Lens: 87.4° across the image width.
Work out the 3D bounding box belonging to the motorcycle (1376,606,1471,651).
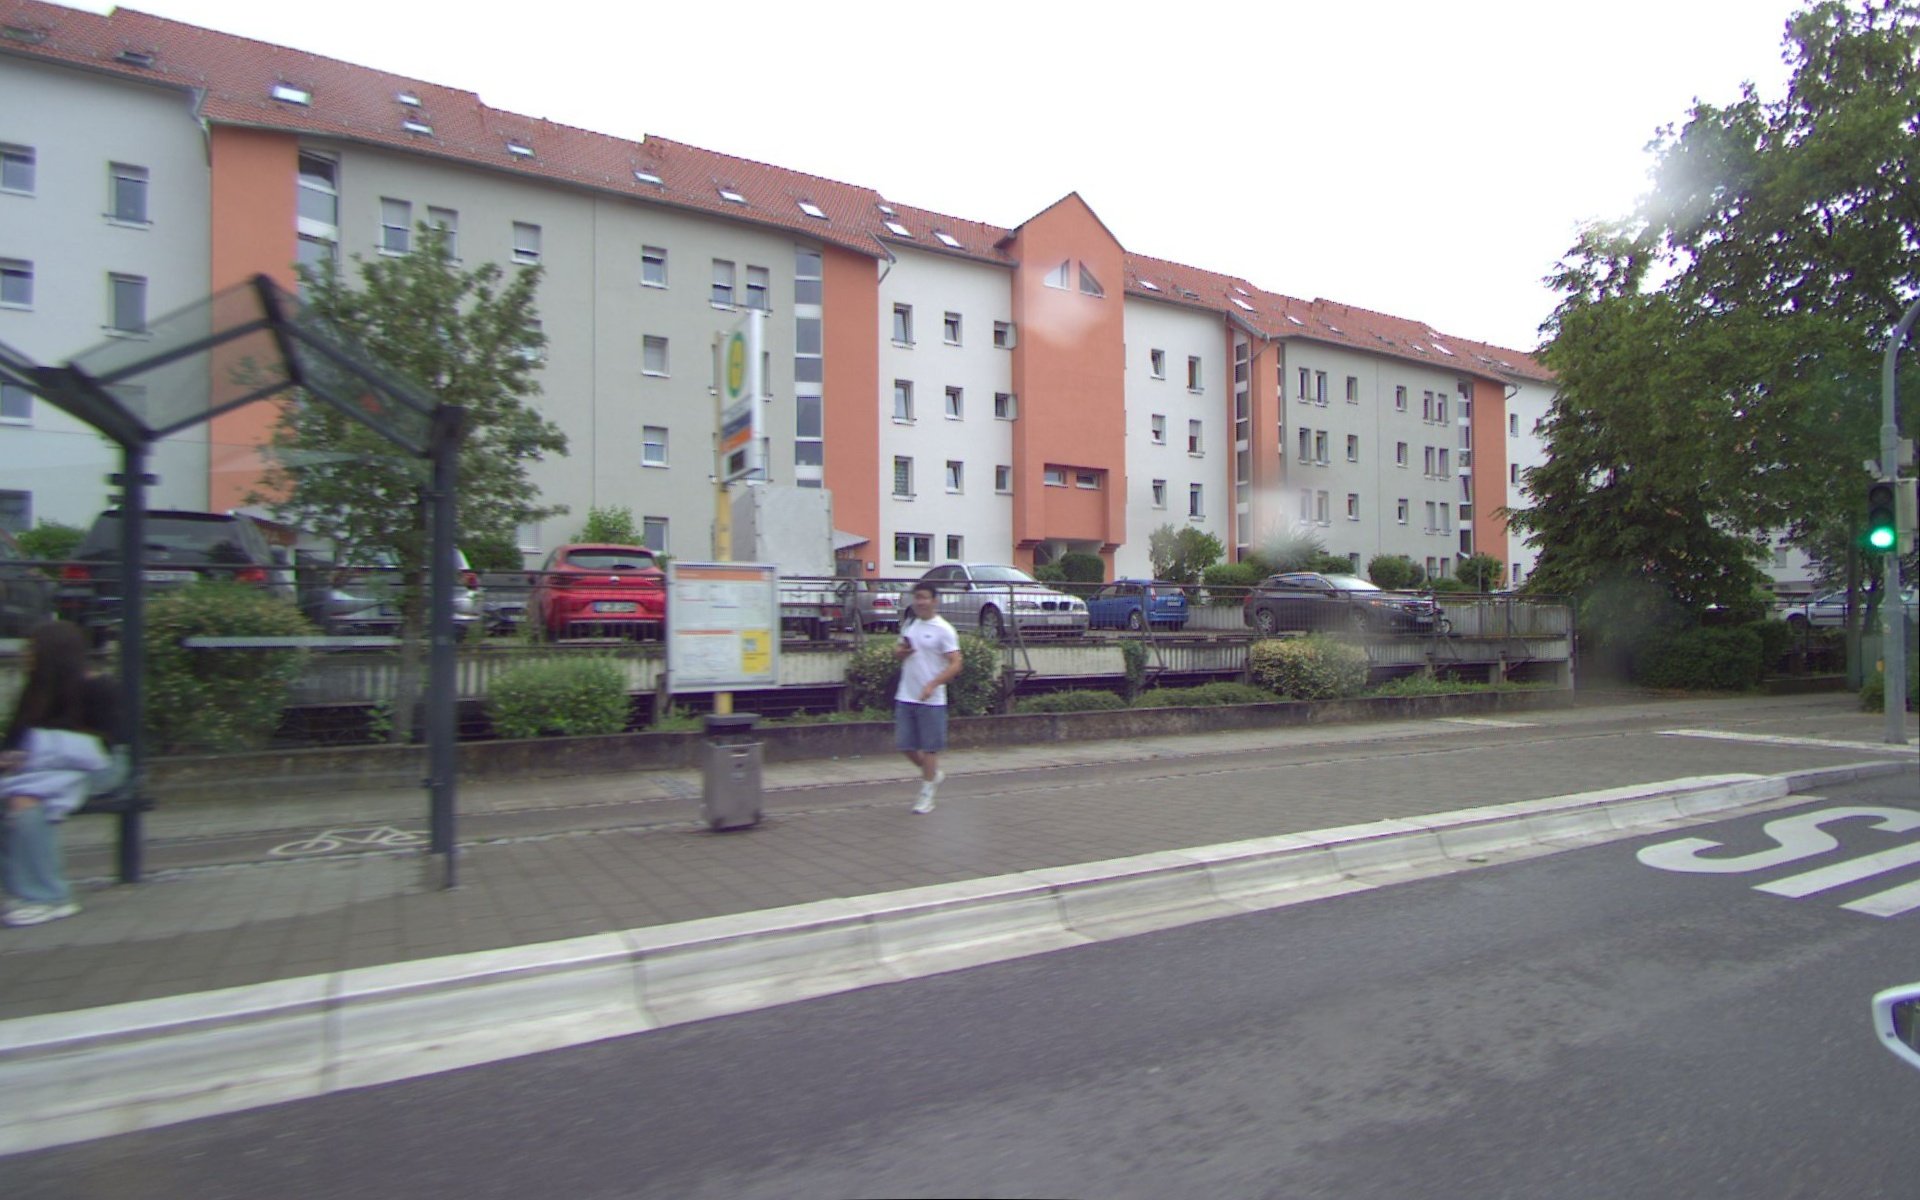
[{"bbox_3d":[10.320,0.623,22.443,0.562,0.925,1.943,3,-1,-29],"label":"motorcycle"}]

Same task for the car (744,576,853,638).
[{"bbox_3d":[-4.208,0.178,25.746,1.697,1.422,3.504,3,-1,-28],"label":"car"}]

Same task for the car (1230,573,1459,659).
[{"bbox_3d":[8.446,0.336,22.485,1.977,1.694,4.522,3,-1,-30],"label":"car"}]

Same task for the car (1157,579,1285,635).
[{"bbox_3d":[8.177,0.202,31.789,1.699,1.622,3.789,3,-1,-31],"label":"car"}]

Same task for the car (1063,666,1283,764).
[{"bbox_3d":[4.083,2.182,19.955,1.838,1.443,4.335,3,-1,-30],"label":"car"}]

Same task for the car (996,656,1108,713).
[{"bbox_3d":[2.665,2.460,29.752,1.697,1.423,3.504,1,-1,-28],"label":"car"}]

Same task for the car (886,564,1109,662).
[{"bbox_3d":[0.498,0.214,17.479,1.838,1.443,4.335,3,-1,-30],"label":"car"}]

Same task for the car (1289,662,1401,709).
[{"bbox_3d":[13.766,3.030,36.078,1.526,1.412,3.579,1,-1,-31],"label":"car"}]

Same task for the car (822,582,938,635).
[{"bbox_3d":[-2.212,0.221,26.797,1.772,1.312,3.974,1,0,-26],"label":"car"}]

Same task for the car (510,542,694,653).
[{"bbox_3d":[-5.283,-0.017,14.489,1.789,1.320,4.069,3,-1,-30],"label":"car"}]

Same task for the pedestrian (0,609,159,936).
[{"bbox_3d":[-4.345,0.785,4.775,0.632,1.436,0.685,3,-5,-26],"label":"pedestrian"}]

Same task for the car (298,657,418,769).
[{"bbox_3d":[-13.182,2.370,22.217,1.975,2.040,3.972,1,-1,-27],"label":"car"}]

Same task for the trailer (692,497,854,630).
[{"bbox_3d":[-2.716,-0.453,14.266,1.462,1.667,2.692,2,-1,-29],"label":"trailer"}]

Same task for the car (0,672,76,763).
[{"bbox_3d":[-18.736,2.194,19.168,1.863,1.415,3.972,1,-1,-27],"label":"car"}]

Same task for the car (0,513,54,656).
[{"bbox_3d":[-11.339,-0.201,10.713,1.878,1.518,3.631,3,-1,-33],"label":"car"}]

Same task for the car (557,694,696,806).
[{"bbox_3d":[-6.050,2.562,17.930,1.571,1.423,3.950,3,-1,-30],"label":"car"}]

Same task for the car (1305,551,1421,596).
[{"bbox_3d":[14.183,-0.896,35.530,1.526,1.412,3.579,3,-1,-31],"label":"car"}]

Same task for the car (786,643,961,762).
[{"bbox_3d":[-1.579,1.642,17.251,1.685,1.719,3.493,1,-1,-30],"label":"car"}]

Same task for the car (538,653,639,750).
[{"bbox_3d":[-9.263,2.402,24.846,1.917,2.040,3.893,1,-1,-27],"label":"car"}]

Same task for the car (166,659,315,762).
[{"bbox_3d":[-15.046,2.231,21.241,1.975,1.773,3.877,1,-1,-27],"label":"car"}]

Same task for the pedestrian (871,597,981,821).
[{"bbox_3d":[-0.268,0.831,7.757,0.599,1.618,0.739,3,-6,-26],"label":"pedestrian"}]

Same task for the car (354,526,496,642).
[{"bbox_3d":[-7.002,-0.181,13.121,1.420,1.287,3.115,3,-1,-30],"label":"car"}]

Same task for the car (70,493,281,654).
[{"bbox_3d":[-8.917,-0.251,11.644,1.420,1.563,3.115,3,-1,-30],"label":"car"}]

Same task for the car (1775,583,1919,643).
[{"bbox_3d":[32.629,0.474,36.686,1.700,2.040,4.146,1,-1,-31],"label":"car"}]

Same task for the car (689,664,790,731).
[{"bbox_3d":[-5.882,2.513,26.507,1.697,1.422,3.504,3,-1,-28],"label":"car"}]

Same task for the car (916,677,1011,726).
[{"bbox_3d":[0.051,2.812,28.236,1.360,1.097,3.186,1,-1,-27],"label":"car"}]

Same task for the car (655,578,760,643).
[{"bbox_3d":[-6.248,0.241,24.620,1.697,1.422,3.504,3,-1,-28],"label":"car"}]

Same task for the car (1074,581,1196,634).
[{"bbox_3d":[5.474,0.227,31.750,1.699,1.531,3.789,3,-1,-31],"label":"car"}]

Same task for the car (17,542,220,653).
[{"bbox_3d":[-11.682,-0.026,14.187,1.540,1.320,3.623,3,-1,-30],"label":"car"}]

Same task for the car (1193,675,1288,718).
[{"bbox_3d":[11.262,3.852,40.508,1.526,1.412,3.579,3,-1,-31],"label":"car"}]

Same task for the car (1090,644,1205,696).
[{"bbox_3d":[6.224,2.311,33.749,1.699,1.531,3.790,3,-2,-31],"label":"car"}]

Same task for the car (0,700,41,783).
[{"bbox_3d":[-19.327,2.770,18.852,2.039,1.415,3.972,3,-1,-27],"label":"car"}]
